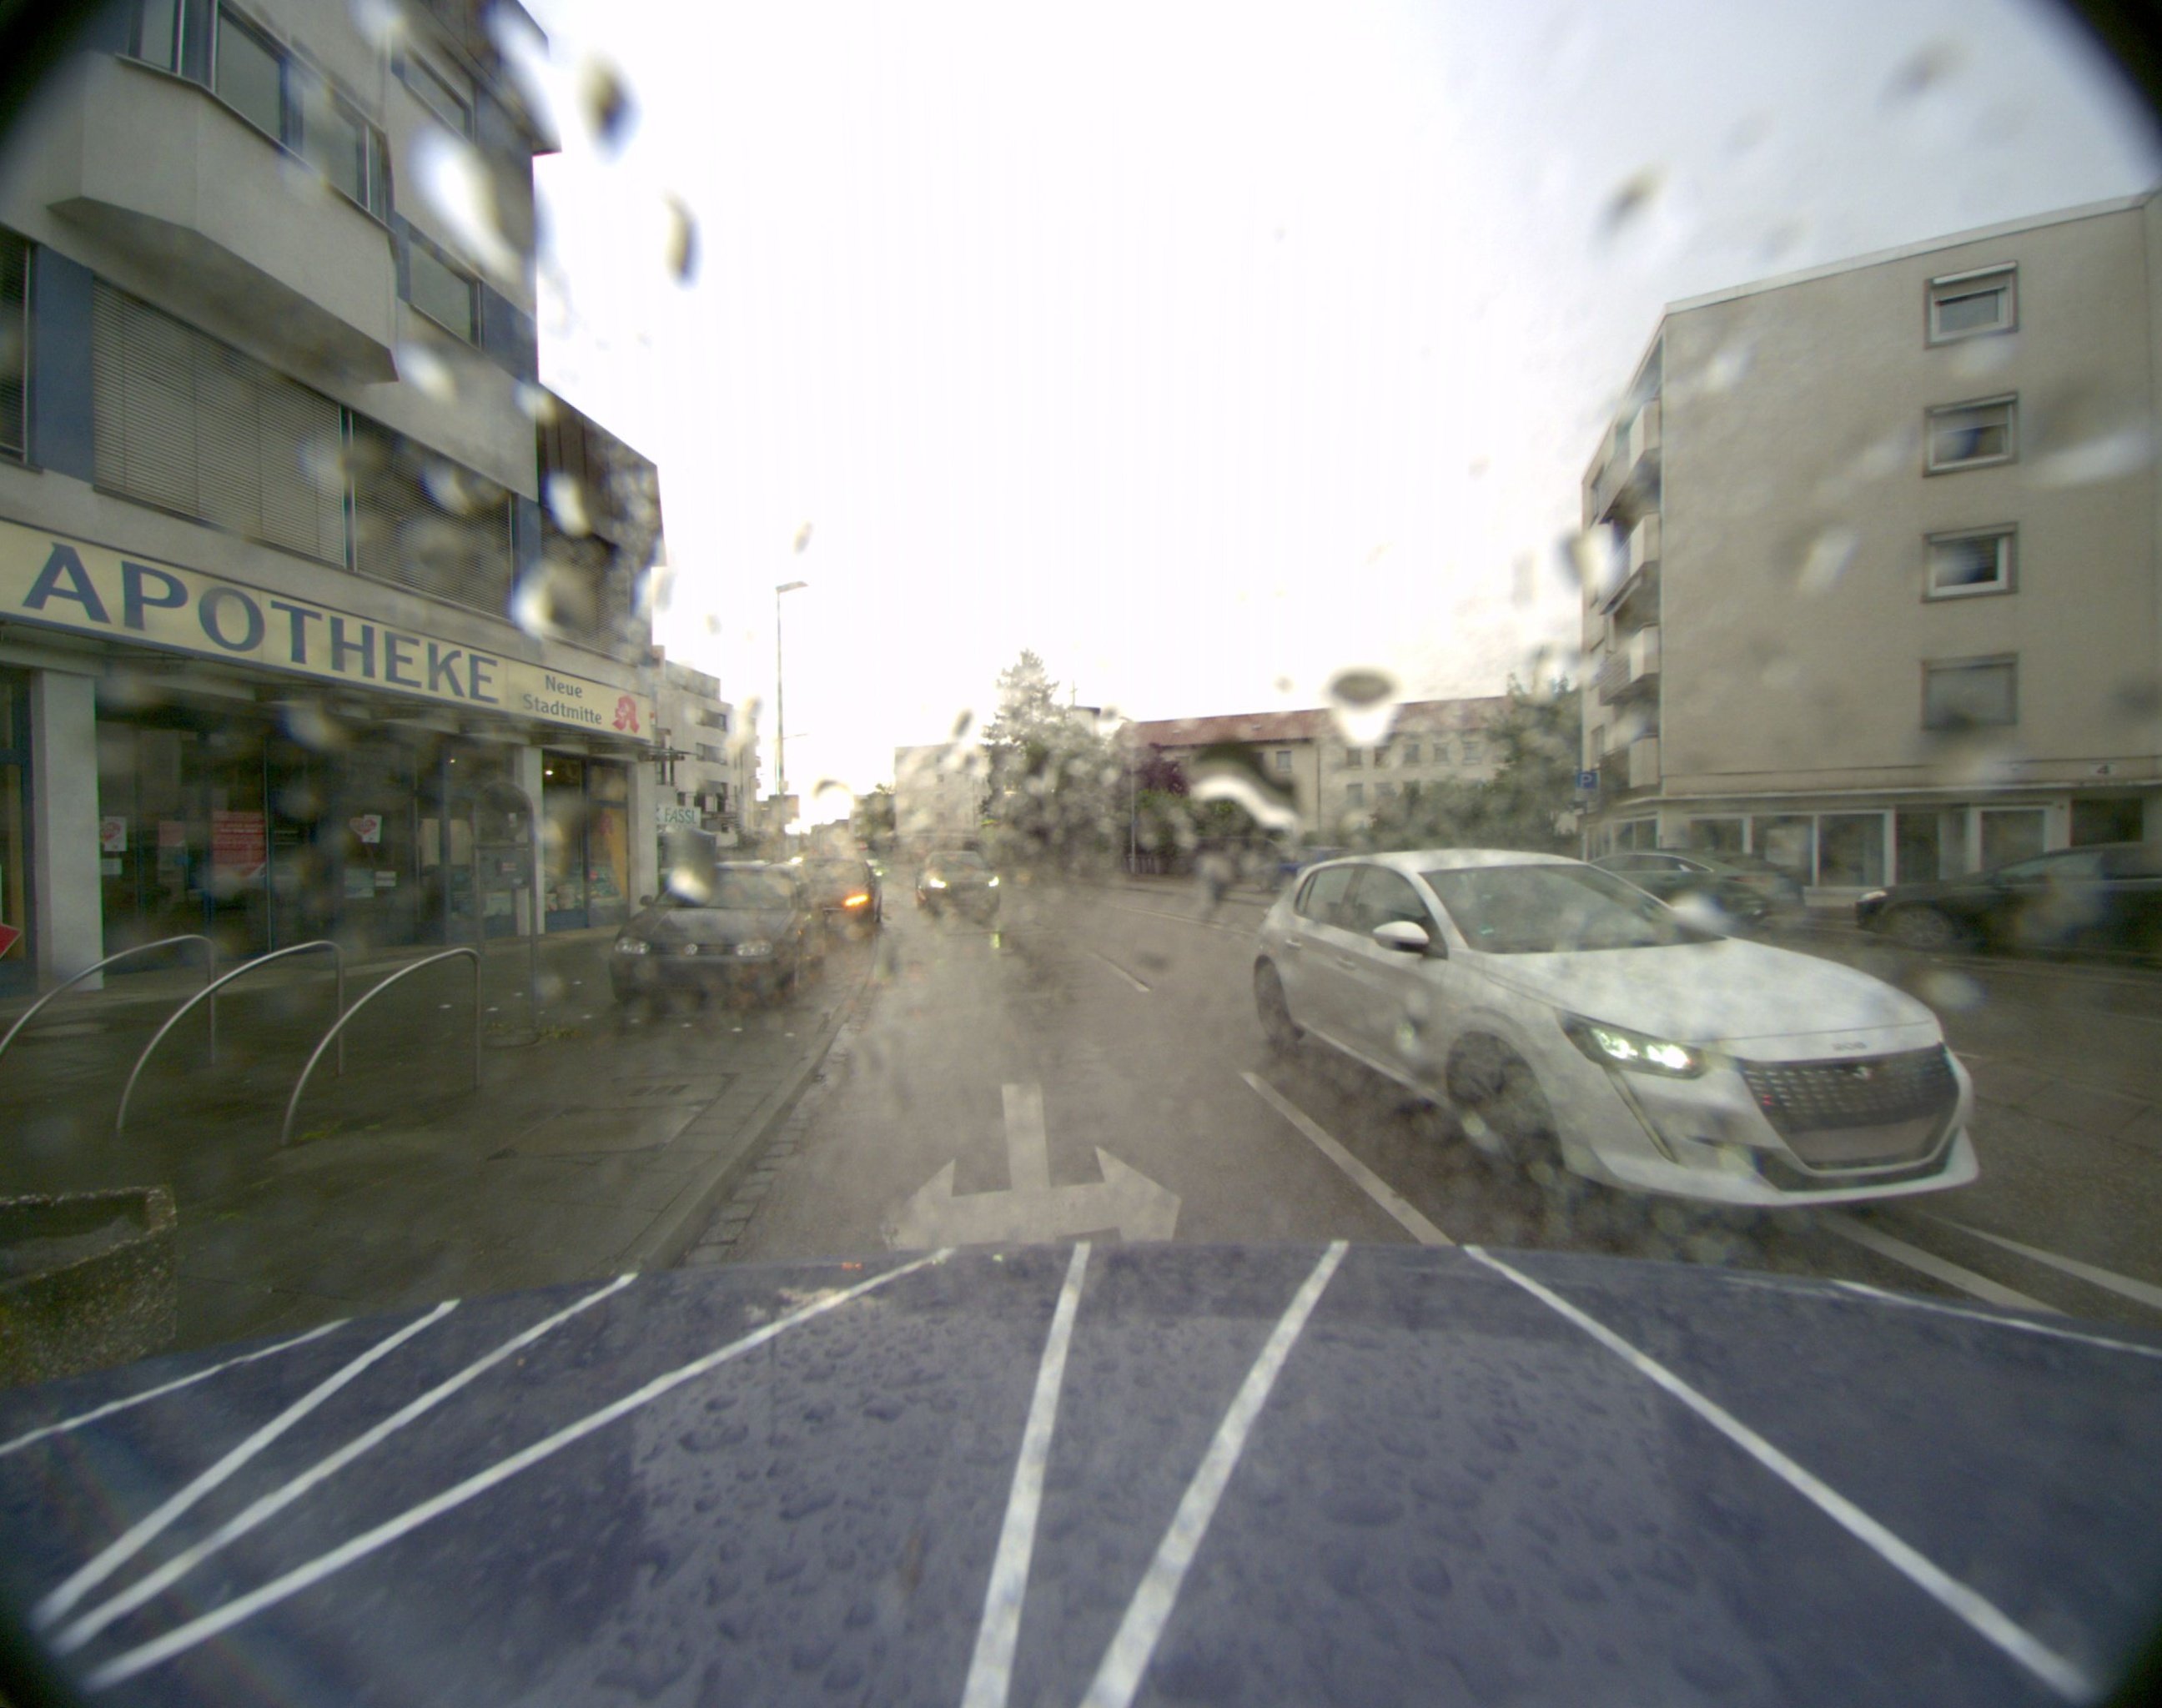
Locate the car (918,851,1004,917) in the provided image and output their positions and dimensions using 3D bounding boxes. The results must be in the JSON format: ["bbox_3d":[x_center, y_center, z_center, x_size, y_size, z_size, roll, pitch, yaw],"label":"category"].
[{"bbox_3d":[-3.257,0.701,20.018,1.736,1.436,4.040,-2,2,-16],"label":"car"}]

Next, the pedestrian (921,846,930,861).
[{"bbox_3d":[-18.902,-0.083,92.261,0.857,1.726,0.834,-1,2,-29],"label":"pedestrian"}]

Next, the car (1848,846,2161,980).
[{"bbox_3d":[12.926,0.669,9.595,1.839,1.451,4.180,-2,2,-21],"label":"car"}]

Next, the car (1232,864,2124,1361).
[{"bbox_3d":[2.431,0.830,4.409,1.744,1.401,3.892,-3,1,-9],"label":"car"}]

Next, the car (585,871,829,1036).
[{"bbox_3d":[-4.000,0.947,8.777,1.656,1.364,3.727,1,0,-12],"label":"car"}]

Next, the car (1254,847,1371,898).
[{"bbox_3d":[7.442,0.528,24.778,1.636,1.497,3.873,-1,1,-20],"label":"car"}]

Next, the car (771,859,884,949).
[{"bbox_3d":[-4.797,0.855,14.849,1.660,1.416,3.995,-1,1,-12],"label":"car"}]

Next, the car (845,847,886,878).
[{"bbox_3d":[-11.620,0.443,40.772,1.736,1.519,4.056,-1,0,-21],"label":"car"}]

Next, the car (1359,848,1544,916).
[{"bbox_3d":[9.289,0.624,19.492,1.639,1.491,4.338,-1,1,-21],"label":"car"}]

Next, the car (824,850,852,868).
[{"bbox_3d":[-20.280,0.378,63.243,1.804,1.361,3.964,-1,2,-24],"label":"car"}]

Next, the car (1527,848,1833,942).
[{"bbox_3d":[11.150,0.641,14.562,1.839,1.426,4.266,-2,2,-21],"label":"car"}]

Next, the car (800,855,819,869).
[{"bbox_3d":[-32.082,0.924,89.757,2.002,1.606,3.993,-3,1,-20],"label":"car"}]

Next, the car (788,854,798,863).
[{"bbox_3d":[-54.120,0.806,142.823,1.747,1.630,3.992,-1,1,-21],"label":"car"}]
